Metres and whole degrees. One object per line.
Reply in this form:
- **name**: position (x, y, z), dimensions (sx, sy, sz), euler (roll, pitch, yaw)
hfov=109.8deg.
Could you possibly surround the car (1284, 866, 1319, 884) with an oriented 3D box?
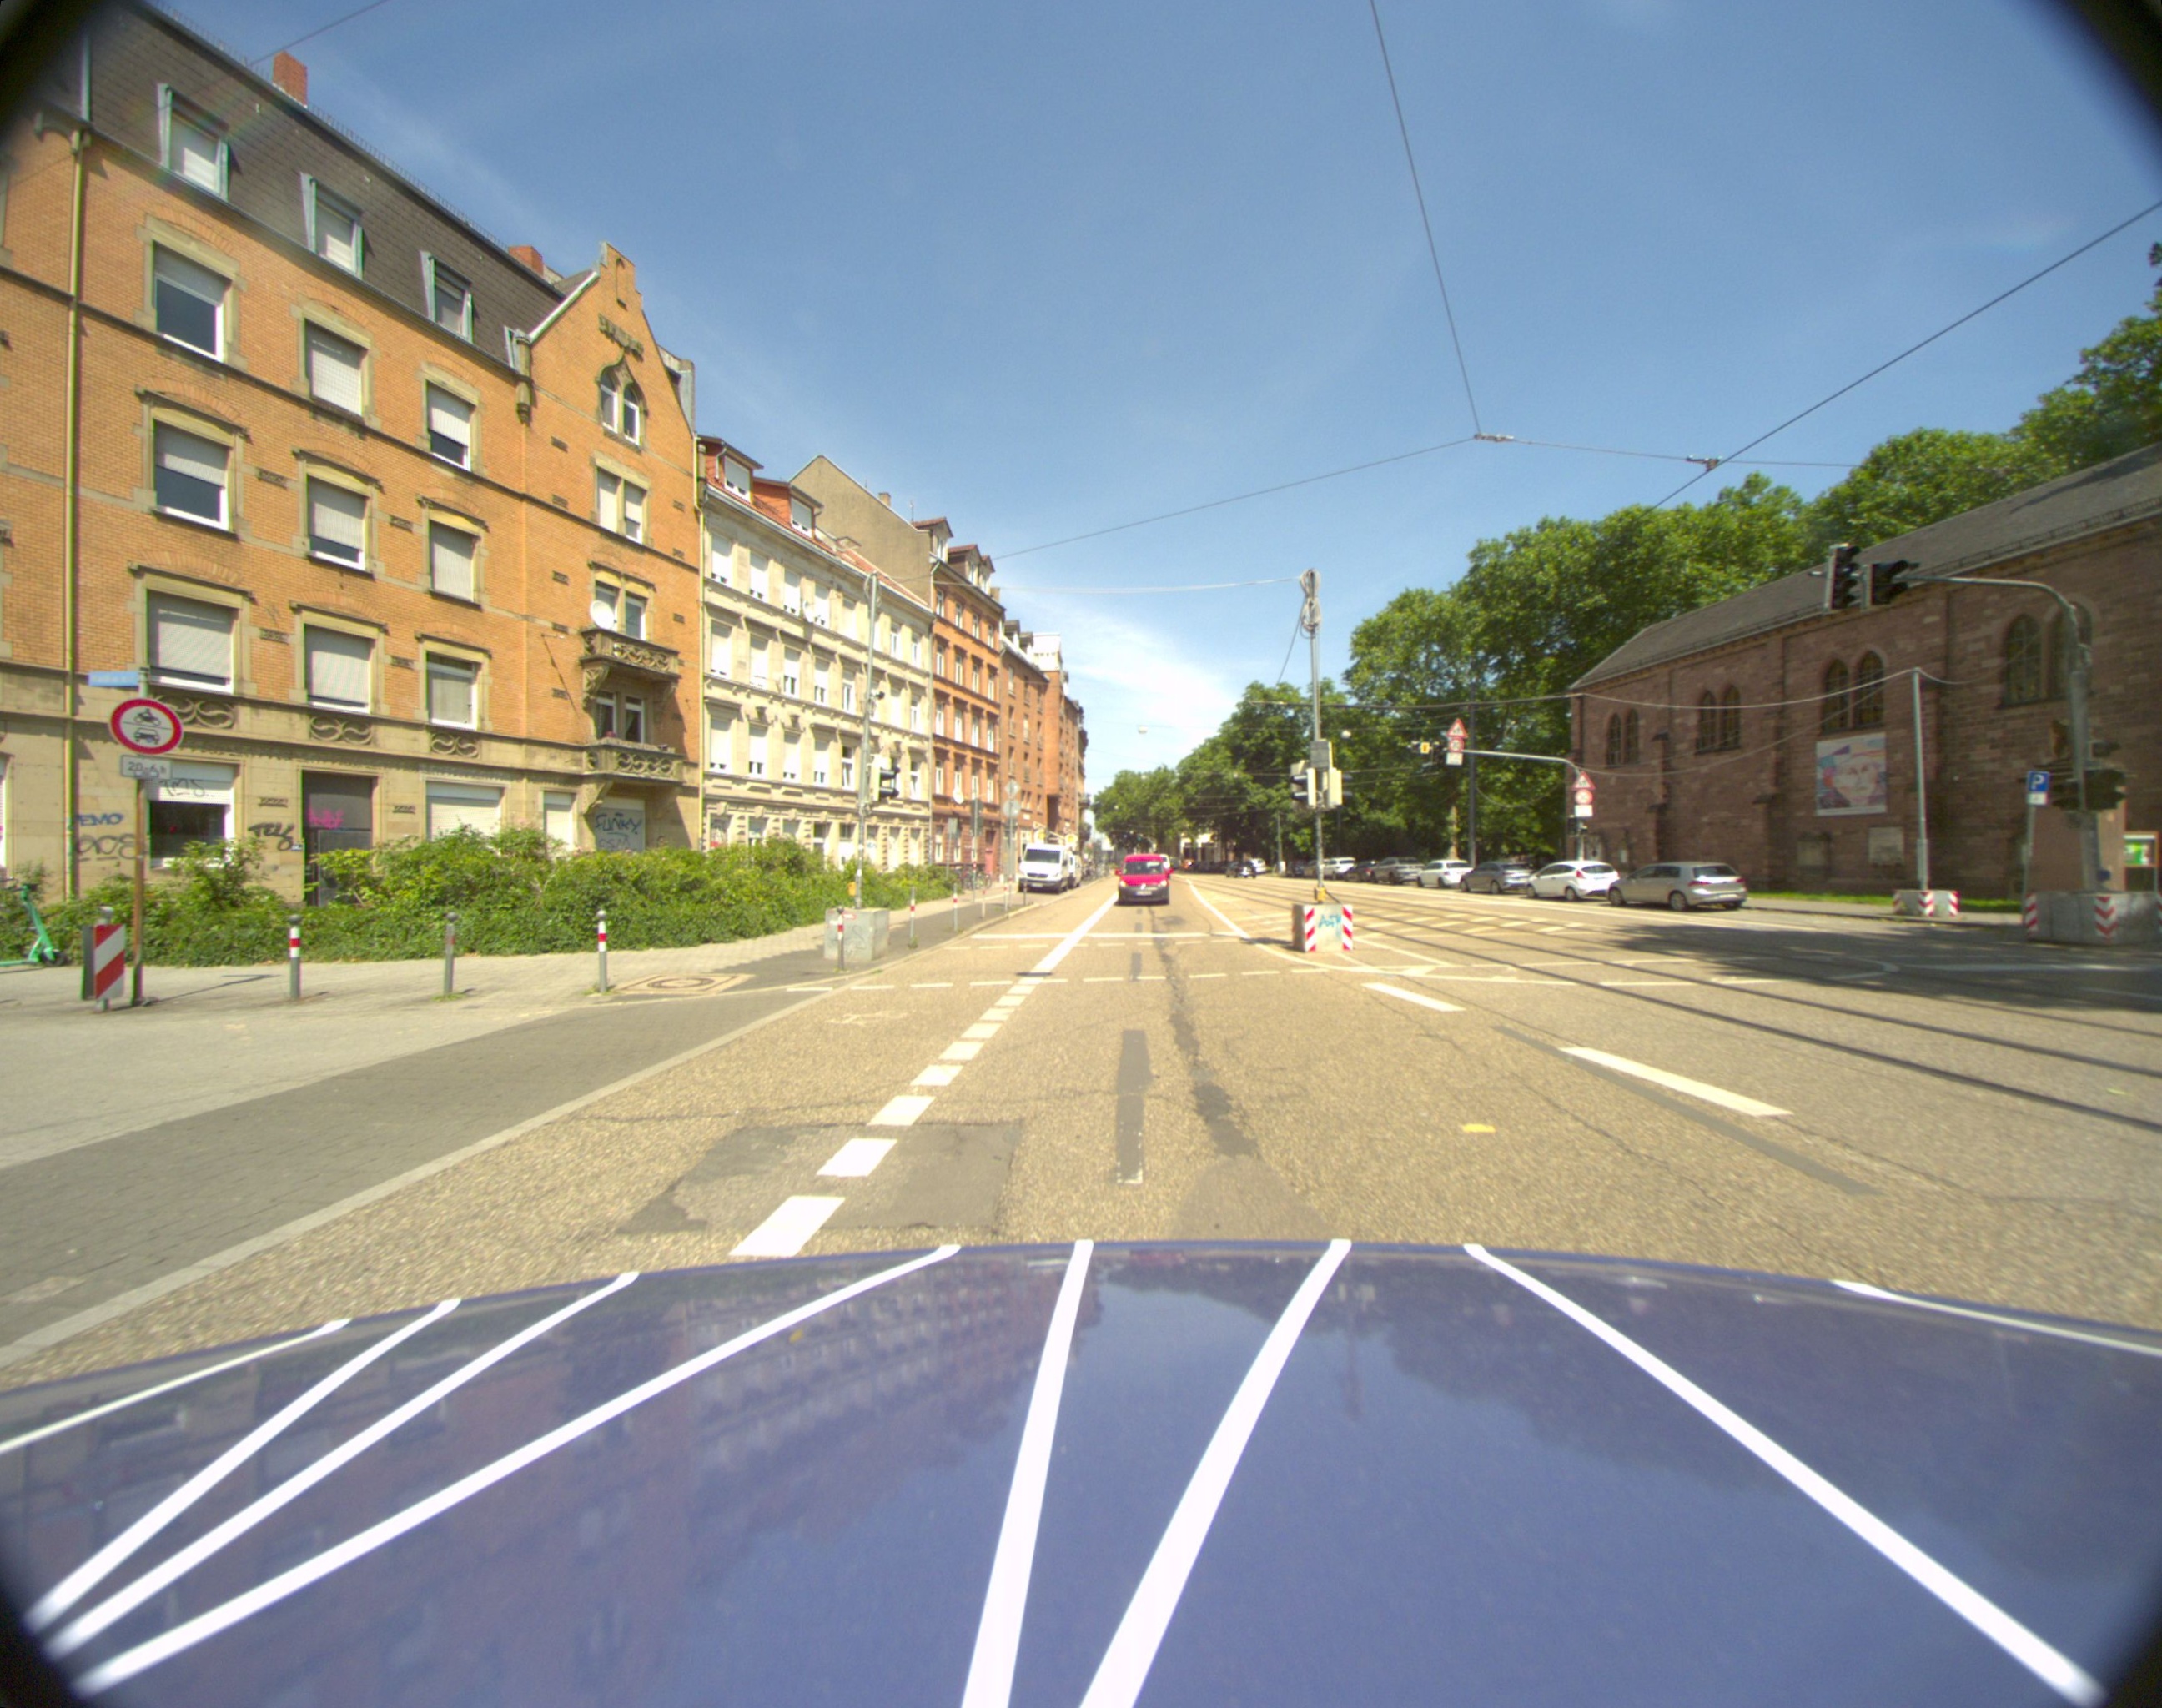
- **car**: position (18.964, 1.807, 65.522), dimensions (1.747, 1.489, 4.188), euler (-1, -1, 0)

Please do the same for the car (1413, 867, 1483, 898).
- **car**: position (18.883, 1.433, 39.255), dimensions (1.747, 1.450, 3.753), euler (-1, -1, 0)

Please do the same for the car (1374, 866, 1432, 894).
- **car**: position (18.697, 1.472, 44.286), dimensions (1.747, 1.514, 3.753), euler (-1, -1, 0)

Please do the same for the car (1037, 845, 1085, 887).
- **car**: position (-1.036, 0.671, 42.984), dimensions (1.997, 2.123, 5.275), euler (3, 0, 6)

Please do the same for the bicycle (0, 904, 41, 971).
- **bicycle**: position (-16.452, 1.261, 11.048), dimensions (0.490, 0.986, 1.489), euler (-1, 0, 10)

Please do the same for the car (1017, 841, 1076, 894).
- **car**: position (-1.601, 0.623, 37.278), dimensions (1.997, 2.316, 5.410), euler (3, 0, 6)

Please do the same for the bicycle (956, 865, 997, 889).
- **bicycle**: position (-5.135, 1.135, 37.508), dimensions (1.918, 1.173, 0.493), euler (-1, 0, 6)

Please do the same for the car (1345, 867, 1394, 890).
- **car**: position (18.809, 1.568, 49.761), dimensions (1.671, 1.368, 4.000), euler (-1, -1, 0)

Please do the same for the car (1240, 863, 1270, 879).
- **car**: position (17.771, 1.711, 77.775), dimensions (1.977, 1.553, 3.999), euler (-1, -1, -2)

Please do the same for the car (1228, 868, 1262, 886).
- **car**: position (13.628, 1.895, 63.345), dimensions (1.751, 1.386, 4.346), euler (-1, -1, -2)

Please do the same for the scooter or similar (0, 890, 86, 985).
- **scooter or similar**: position (-14.148, 1.092, 9.822), dimensions (0.490, 1.197, 1.489), euler (-1, 0, 10)

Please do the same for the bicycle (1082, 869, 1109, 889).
- **bicycle**: position (1.108, 1.894, 57.602), dimensions (1.936, 1.497, 0.666), euler (-1, 0, 17)

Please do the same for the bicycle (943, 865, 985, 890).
- **bicycle**: position (-5.602, 1.126, 36.464), dimensions (1.918, 1.173, 0.493), euler (-1, 0, 6)

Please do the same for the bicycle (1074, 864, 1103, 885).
- **bicycle**: position (0.538, 1.474, 54.502), dimensions (1.936, 1.497, 0.666), euler (-1, 0, 17)

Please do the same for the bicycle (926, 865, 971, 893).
- **bicycle**: position (-5.959, 1.120, 34.139), dimensions (1.918, 1.173, 0.493), euler (-1, 0, 6)

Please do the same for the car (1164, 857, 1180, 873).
- **car**: position (13.683, 1.666, 114.404), dimensions (1.821, 2.283, 3.761), euler (-1, 0, -2)

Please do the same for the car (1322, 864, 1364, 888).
- **car**: position (18.809, 1.530, 54.794), dimensions (1.747, 1.643, 3.906), euler (-1, -1, 2)

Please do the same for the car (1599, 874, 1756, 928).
- **car**: position (18.566, 1.399, 23.936), dimensions (1.662, 1.450, 4.221), euler (-1, -1, 1)

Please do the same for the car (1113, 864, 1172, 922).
- **car**: position (2.210, 1.305, 27.278), dimensions (1.859, 1.823, 5.169), euler (-1, -1, 5)

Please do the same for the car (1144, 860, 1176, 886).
- **car**: position (6.268, 1.467, 60.731), dimensions (2.165, 1.926, 4.855), euler (-1, -1, 2)

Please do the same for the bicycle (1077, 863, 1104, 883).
- **bicycle**: position (0.712, 1.412, 56.622), dimensions (1.936, 1.497, 0.666), euler (-1, 0, 17)

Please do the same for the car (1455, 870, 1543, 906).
- **car**: position (18.523, 1.477, 33.875), dimensions (1.662, 1.450, 4.059), euler (-1, -1, 0)

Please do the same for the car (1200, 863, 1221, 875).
- **car**: position (16.100, 1.853, 94.594), dimensions (1.747, 1.506, 3.817), euler (-1, -1, -4)

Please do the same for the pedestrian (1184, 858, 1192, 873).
- **pedestrian**: position (14.510, 1.603, 103.330), dimensions (0.953, 2.002, 0.760), euler (-1, 0, 3)

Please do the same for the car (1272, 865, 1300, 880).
- **car**: position (19.191, 1.696, 71.256), dimensions (1.650, 1.372, 3.766), euler (-1, -1, 0)

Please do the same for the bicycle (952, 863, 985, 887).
- **bicycle**: position (-5.750, 1.048, 38.940), dimensions (0.491, 1.173, 1.925), euler (-1, 0, 35)

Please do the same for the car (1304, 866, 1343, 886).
- **car**: position (19.059, 1.719, 59.905), dimensions (1.747, 1.489, 4.188), euler (-1, -1, 0)

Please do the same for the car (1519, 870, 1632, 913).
- **car**: position (18.600, 1.378, 28.829), dimensions (1.662, 1.450, 4.059), euler (-1, -1, 1)

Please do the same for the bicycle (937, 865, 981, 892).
- **bicycle**: position (-5.643, 1.140, 35.141), dimensions (1.918, 1.173, 0.493), euler (-1, 0, 6)

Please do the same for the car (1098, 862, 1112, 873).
- **car**: position (3.826, 2.179, 122.104), dimensions (1.999, 1.641, 3.999), euler (-1, -1, -3)

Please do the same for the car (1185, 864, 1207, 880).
- **car**: position (15.299, 2.407, 101.365), dimensions (1.999, 2.001, 3.999), euler (-1, -1, -3)

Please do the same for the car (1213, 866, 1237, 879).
- **car**: position (16.711, 2.169, 88.420), dimensions (1.810, 1.455, 3.999), euler (-1, -1, -4)
